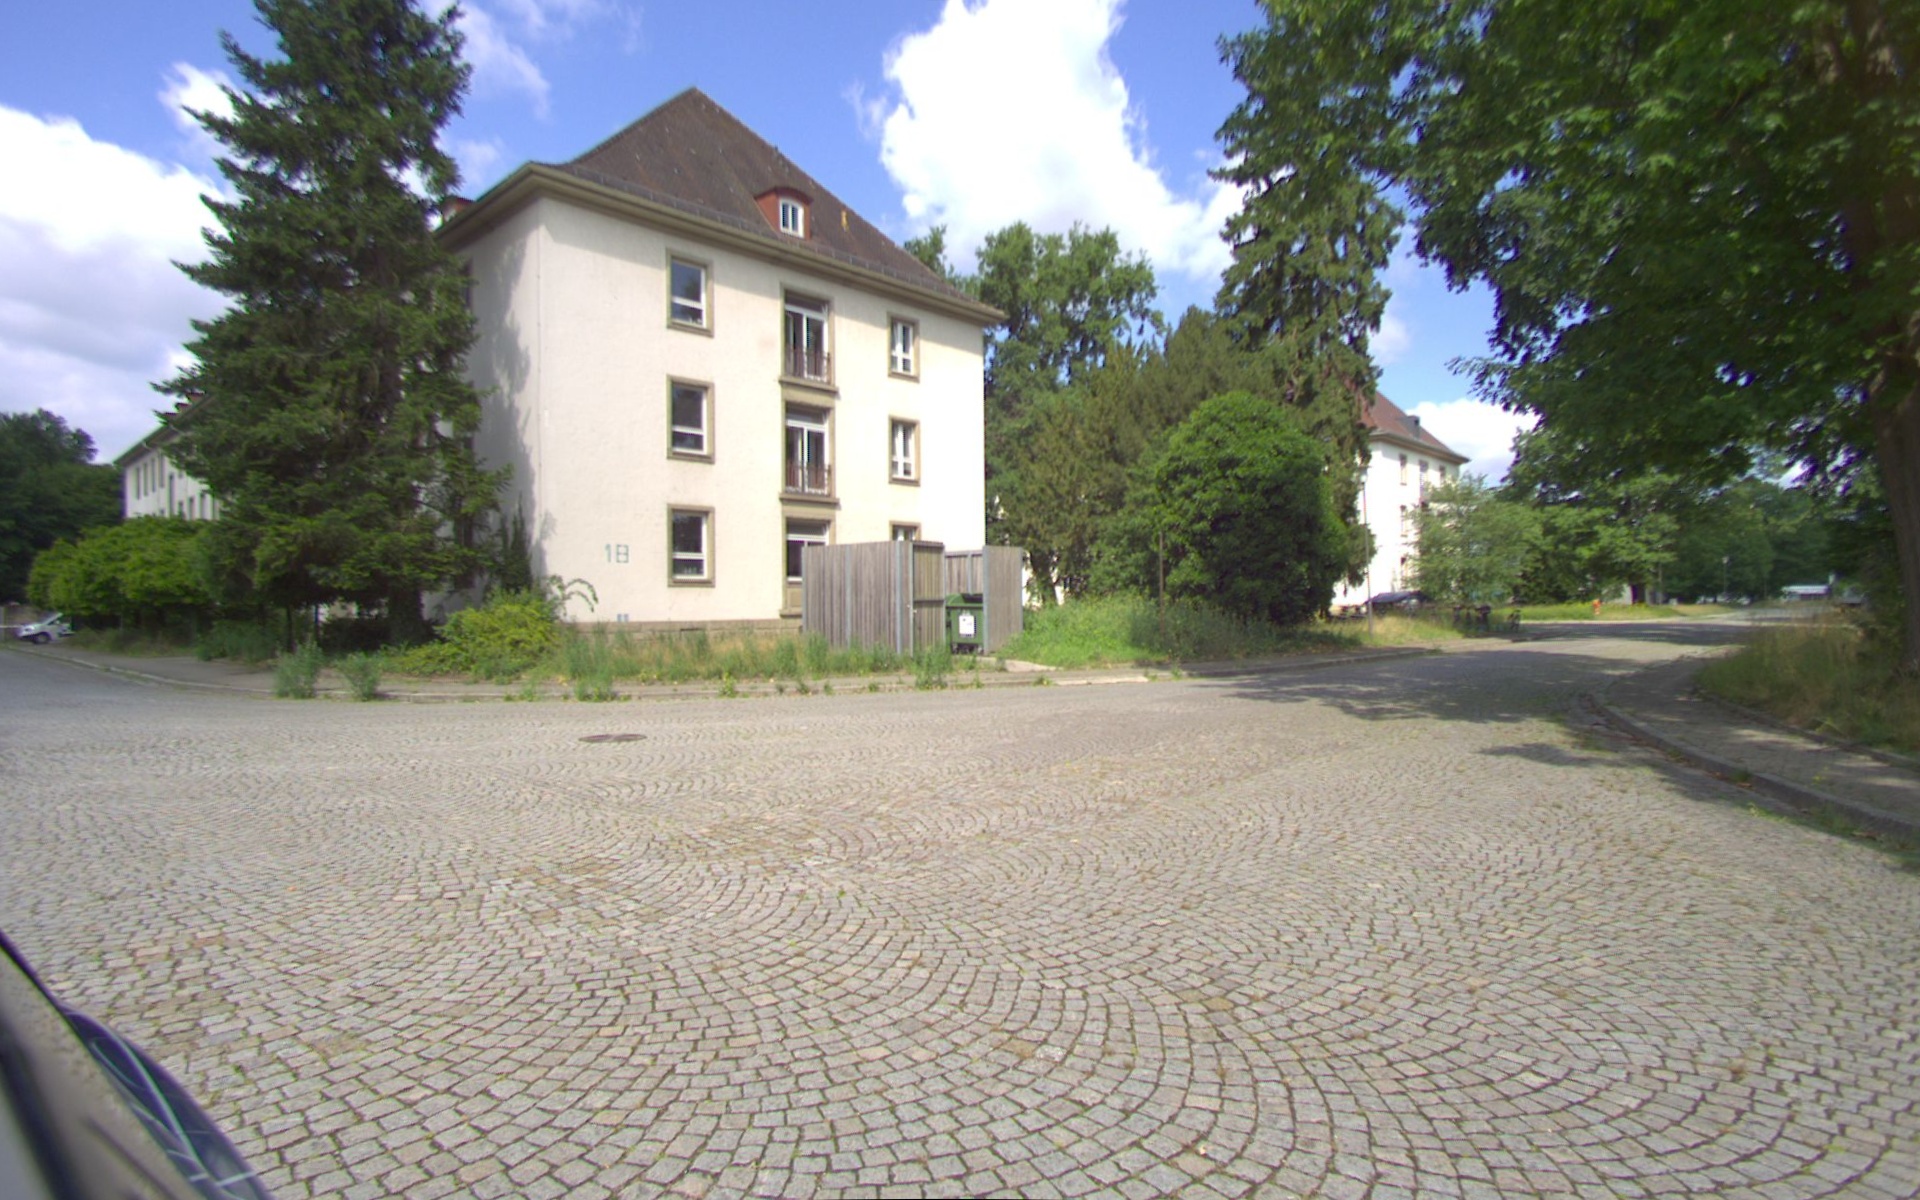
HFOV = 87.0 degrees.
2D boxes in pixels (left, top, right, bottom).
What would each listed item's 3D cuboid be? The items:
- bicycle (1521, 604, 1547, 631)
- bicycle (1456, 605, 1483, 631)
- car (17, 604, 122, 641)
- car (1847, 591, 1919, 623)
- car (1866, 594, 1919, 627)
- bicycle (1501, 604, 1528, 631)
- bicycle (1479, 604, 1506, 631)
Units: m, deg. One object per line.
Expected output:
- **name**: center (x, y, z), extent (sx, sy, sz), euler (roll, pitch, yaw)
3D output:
- **bicycle**: center (24.282, 0.737, 42.811), extent (0.559, 1.106, 2.185), euler (-1, 0, 40)
- **bicycle**: center (22.320, 0.765, 44.326), extent (0.559, 1.106, 2.185), euler (-1, 0, 40)
- **car**: center (-50.919, 1.275, 57.920), extent (1.819, 1.819, 4.258), euler (-1, 2, 40)
- **car**: center (63.184, 0.457, 67.382), extent (1.969, 2.007, 6.010), euler (-2, 0, -42)
- **car**: center (60.205, 0.625, 63.617), extent (1.969, 2.007, 4.650), euler (-2, 0, -42)
- **bicycle**: center (23.596, 0.753, 43.047), extent (0.559, 1.106, 2.185), euler (-1, 0, 40)
- **bicycle**: center (23.010, 0.752, 43.699), extent (0.559, 1.106, 2.185), euler (-1, 0, 40)
